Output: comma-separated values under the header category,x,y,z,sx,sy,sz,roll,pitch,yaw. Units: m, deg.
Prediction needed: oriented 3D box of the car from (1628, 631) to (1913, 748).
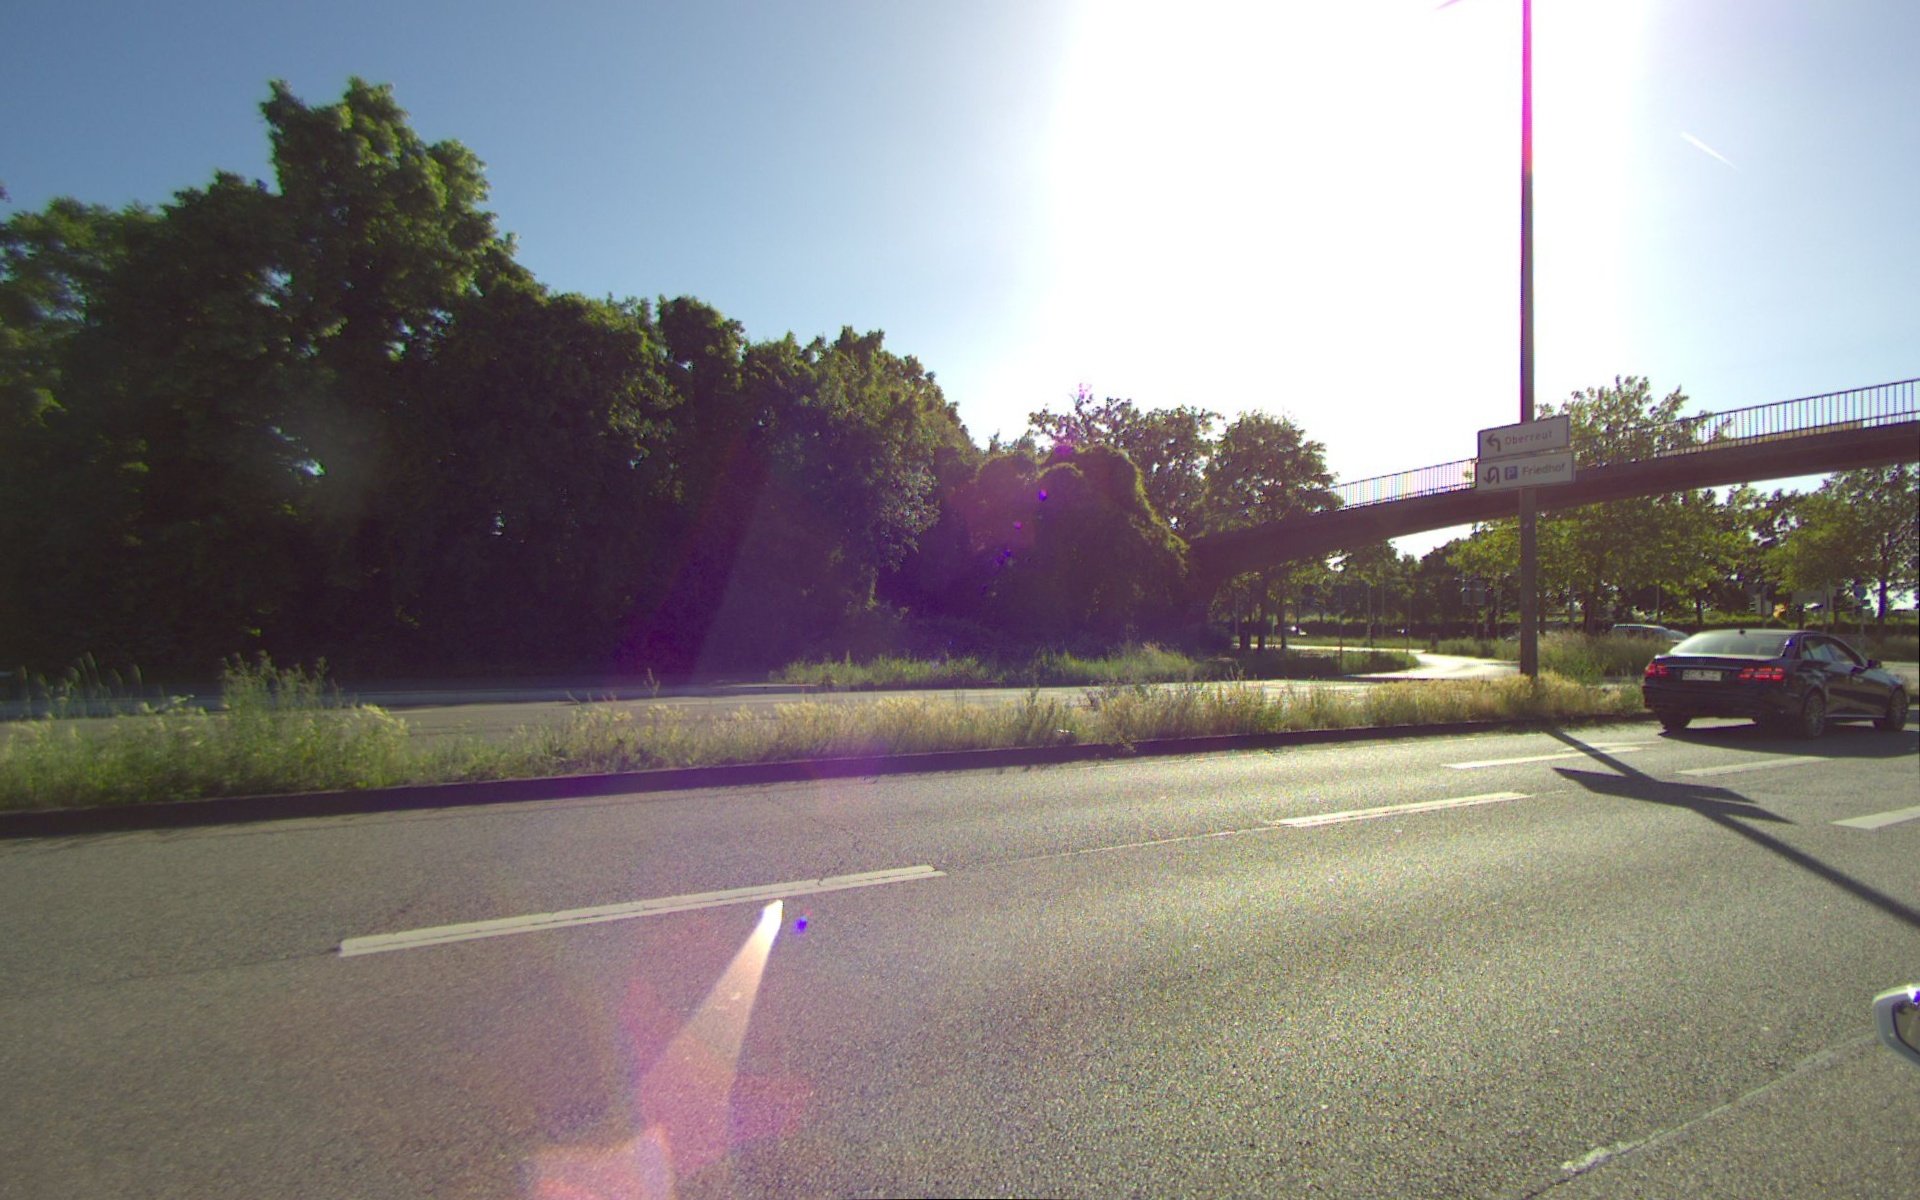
category,x,y,z,sx,sy,sz,roll,pitch,yaw
car,12.051,1.220,14.883,4.475,1.506,1.766,1,-2,-29

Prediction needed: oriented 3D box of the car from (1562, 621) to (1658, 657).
category,x,y,z,sx,sy,sz,roll,pitch,yaw
car,34.607,2.065,53.563,1.756,1.778,3.970,1,-1,-28
